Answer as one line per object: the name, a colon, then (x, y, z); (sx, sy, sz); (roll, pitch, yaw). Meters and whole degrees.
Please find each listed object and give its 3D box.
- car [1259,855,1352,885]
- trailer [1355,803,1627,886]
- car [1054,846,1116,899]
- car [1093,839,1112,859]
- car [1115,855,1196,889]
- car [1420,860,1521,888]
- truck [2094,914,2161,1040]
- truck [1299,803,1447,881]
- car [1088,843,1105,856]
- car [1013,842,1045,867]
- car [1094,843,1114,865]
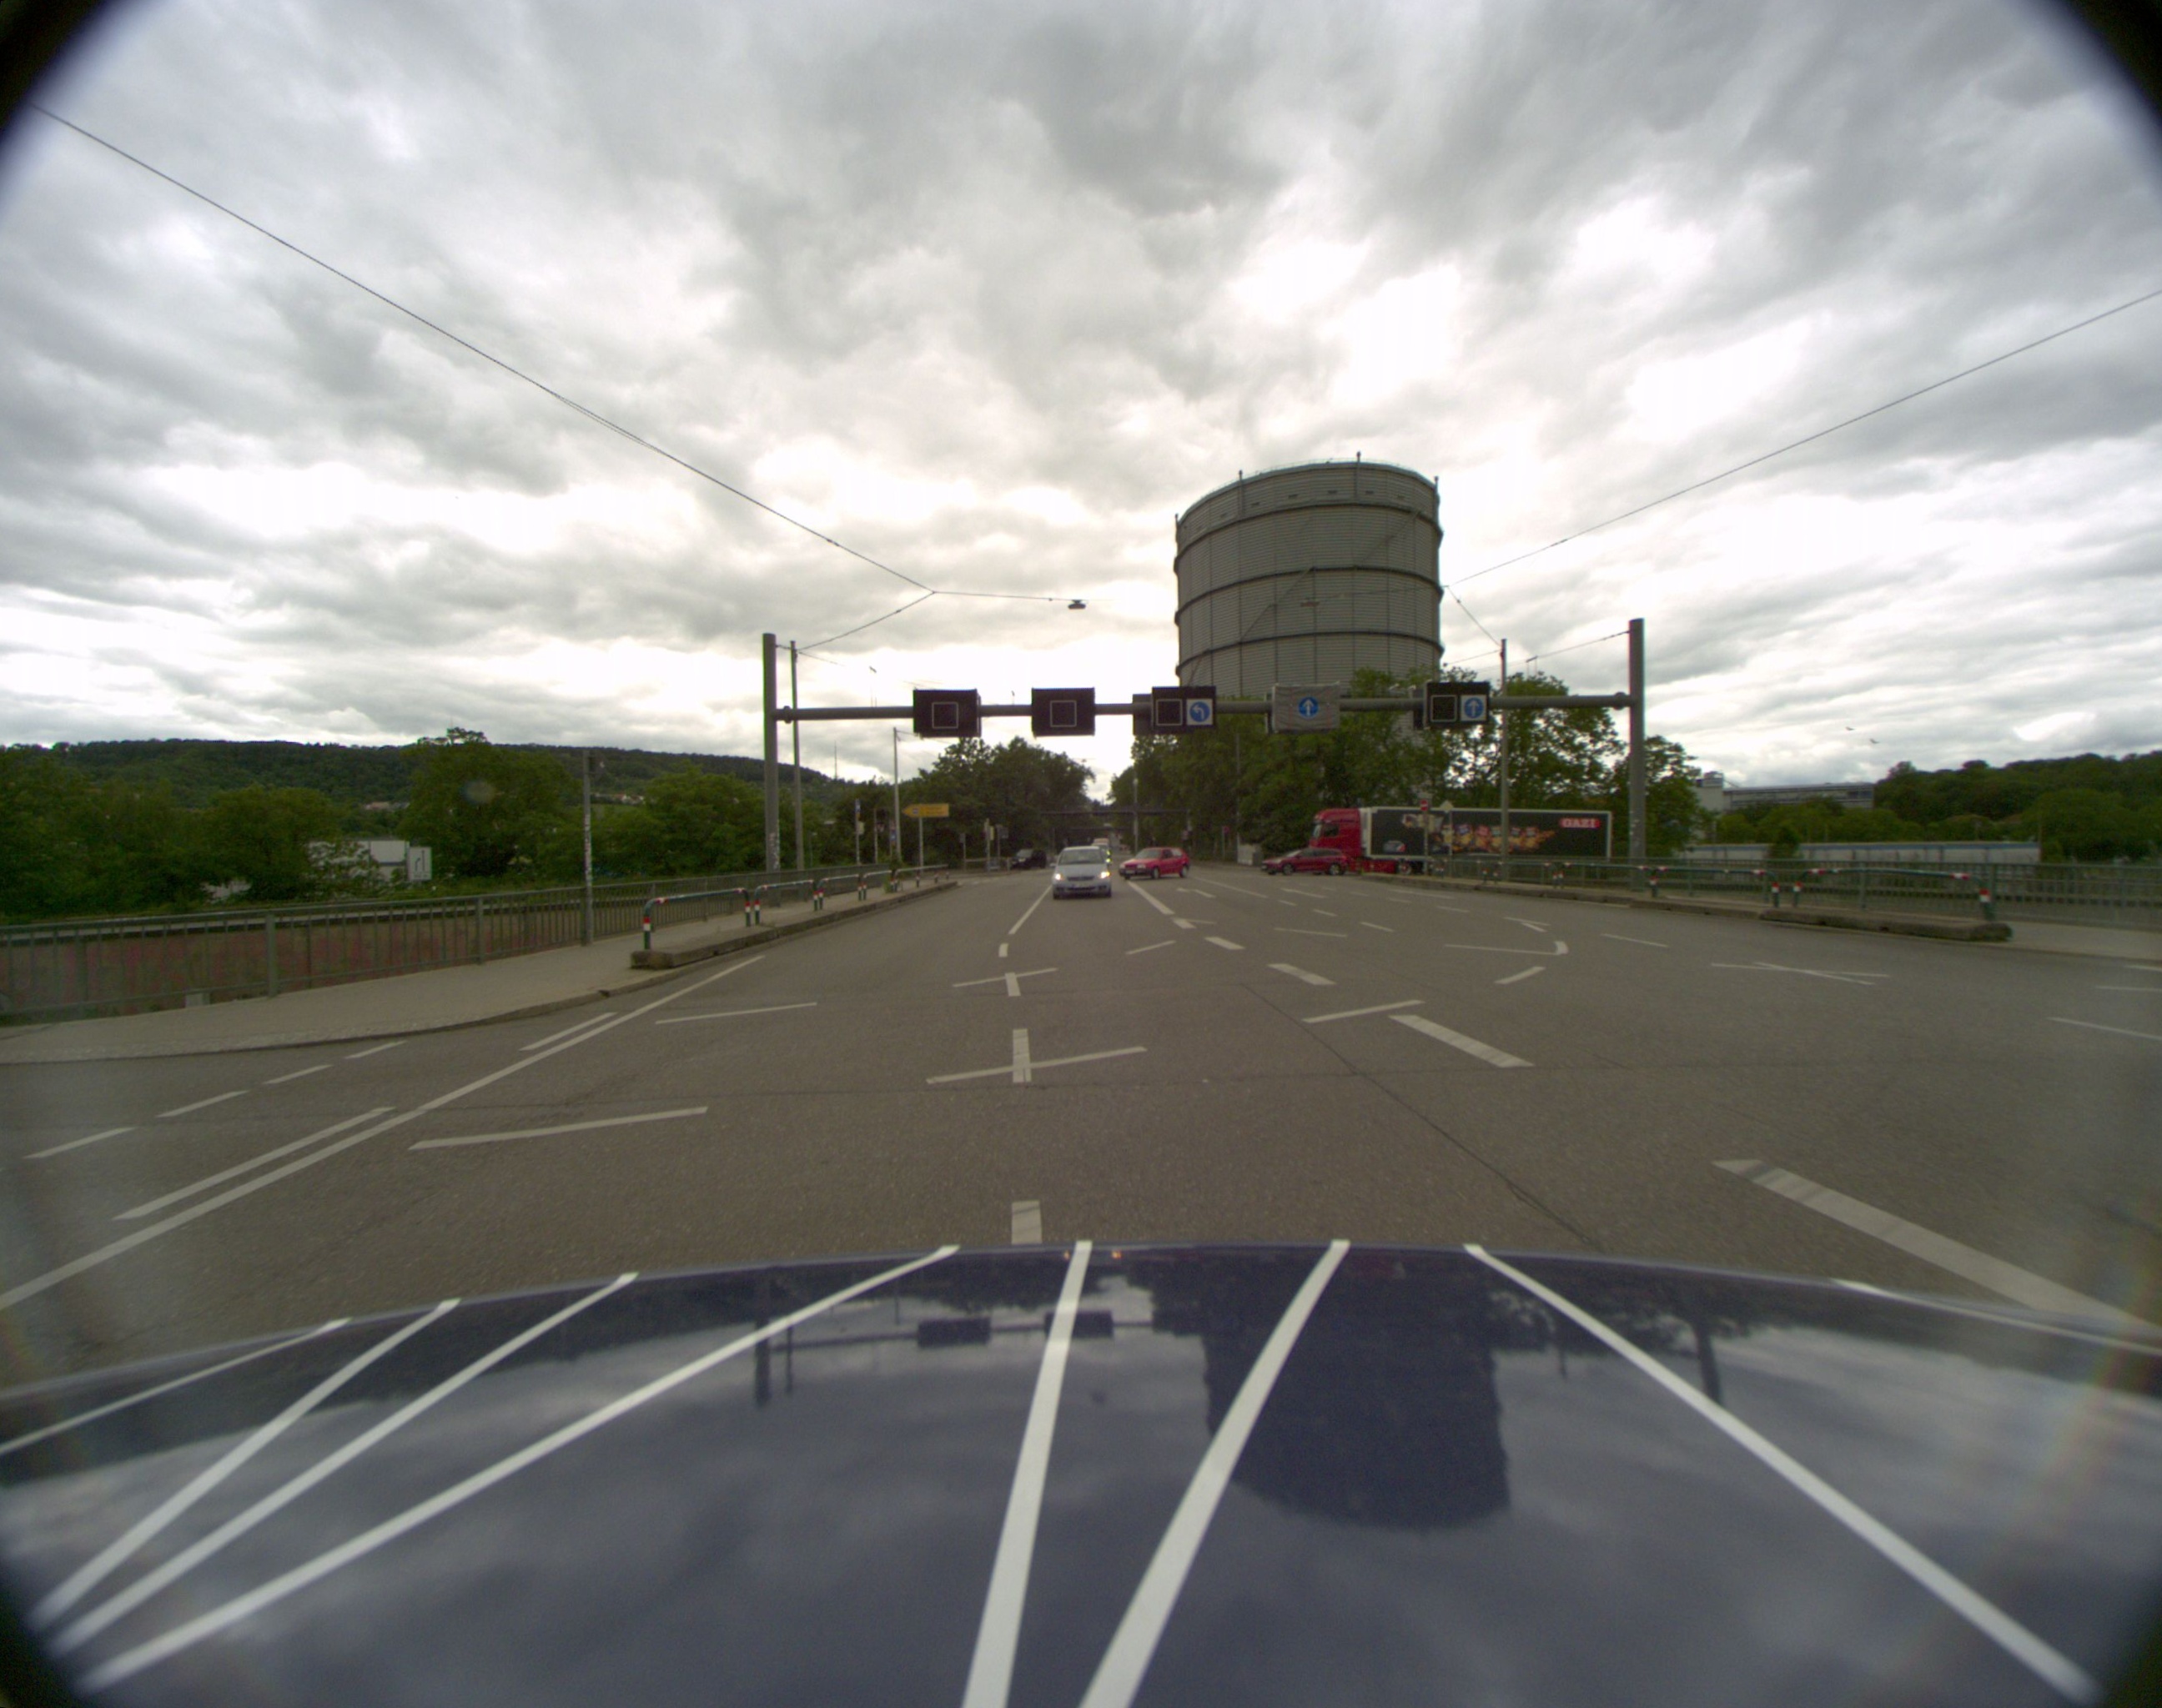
car: (11.830, 0.810, 40.140); (4.469, 1.412, 1.695); (-1, 0, -13)
trailer: (23.712, -0.536, 44.653); (13.769, 4.296, 3.672); (2, 0, 2)
car: (0.215, 0.561, 25.034); (1.746, 1.594, 3.683); (1, 0, 4)
car: (2.202, -0.454, 79.125); (1.933, 1.987, 4.453); (0, 0, 0)
car: (3.496, 0.821, 35.094); (1.743, 1.454, 3.963); (-2, -1, 41)
car: (20.817, 1.050, 40.747); (4.463, 1.412, 1.698); (1, 0, 4)
truck: (45.445, 4.401, 27.076); (13.241, 4.332, 2.891); (-1, 2, 6)
truck: (17.091, -0.686, 44.972); (7.228, 4.296, 3.672); (2, 0, 2)
car: (2.309, -0.682, 111.553); (2.330, 1.905, 5.400); (0, 2, 4)
car: (-4.443, -0.027, 65.179); (2.331, 1.905, 4.946); (0, 3, 1)
car: (2.743, -0.036, 92.789); (2.331, 2.509, 4.948); (1, 1, 1)
